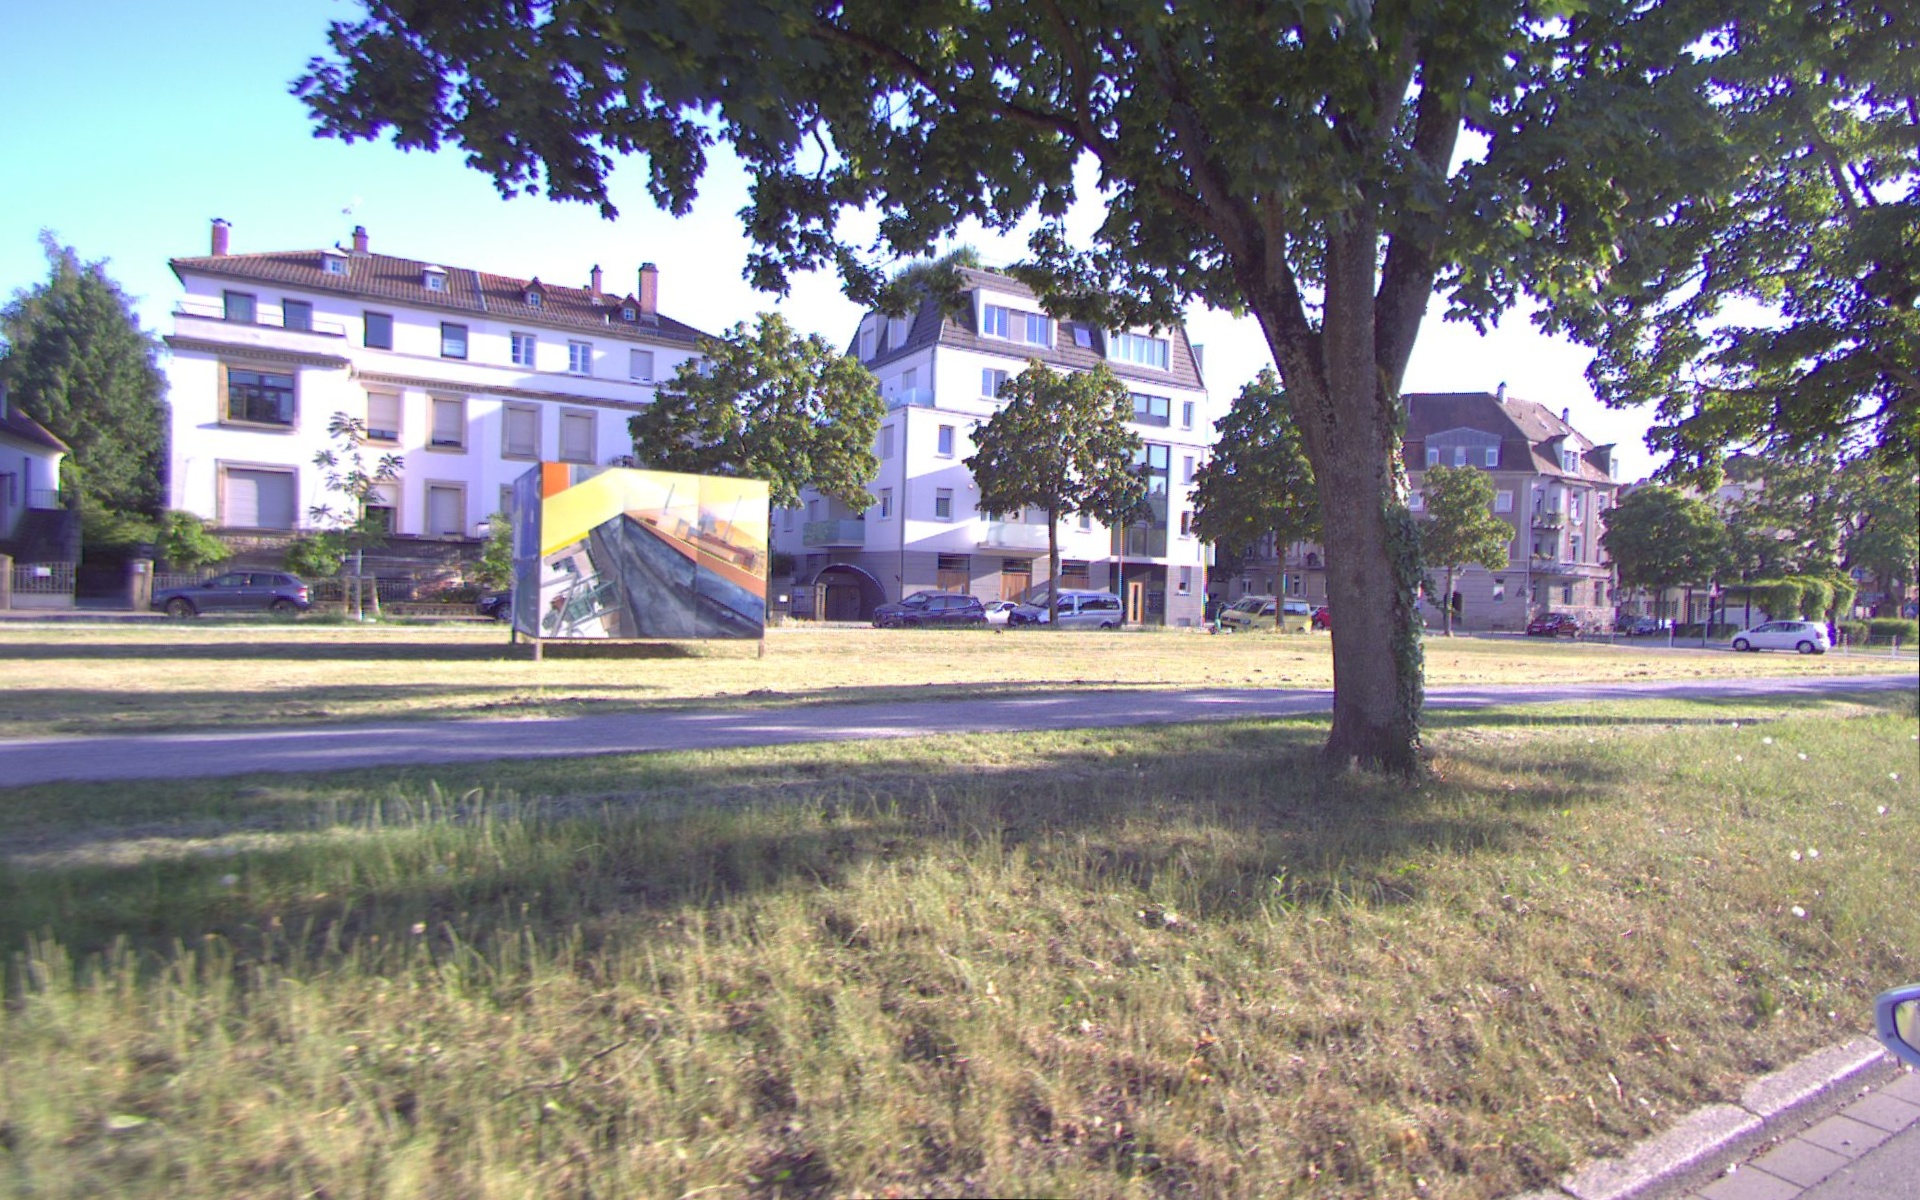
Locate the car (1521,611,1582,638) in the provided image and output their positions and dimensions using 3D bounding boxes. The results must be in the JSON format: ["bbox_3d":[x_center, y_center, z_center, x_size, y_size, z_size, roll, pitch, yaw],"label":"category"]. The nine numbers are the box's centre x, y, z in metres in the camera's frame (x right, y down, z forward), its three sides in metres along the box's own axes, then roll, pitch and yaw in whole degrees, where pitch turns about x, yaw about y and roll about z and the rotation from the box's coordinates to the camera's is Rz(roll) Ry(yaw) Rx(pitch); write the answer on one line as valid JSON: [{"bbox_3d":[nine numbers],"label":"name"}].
[{"bbox_3d":[40.400,1.698,68.617,4.241,1.729,1.637,3,-3,-29],"label":"car"}]

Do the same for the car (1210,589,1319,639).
[{"bbox_3d":[14.178,0.710,46.722,4.992,2.084,1.985,3,-3,-30],"label":"car"}]

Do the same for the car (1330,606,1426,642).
[{"bbox_3d":[21.302,1.250,51.202,4.769,1.658,1.976,3,-3,-29],"label":"car"}]

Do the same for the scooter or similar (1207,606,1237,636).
[{"bbox_3d":[10.294,0.817,39.500,1.285,1.142,0.389,2,1,-38],"label":"scooter or similar"}]

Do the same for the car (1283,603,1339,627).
[{"bbox_3d":[26.121,1.146,74.808,4.027,1.658,1.690,3,-3,-29],"label":"car"}]

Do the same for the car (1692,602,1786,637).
[{"bbox_3d":[68.002,1.673,87.845,6.203,2.756,1.999,2,1,31],"label":"car"}]

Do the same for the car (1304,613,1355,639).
[{"bbox_3d":[24.233,1.679,65.986,1.654,1.501,3.590,0,2,-9],"label":"car"}]

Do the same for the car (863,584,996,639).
[{"bbox_3d":[-1.127,0.479,37.649,4.636,1.851,1.920,3,-3,-30],"label":"car"}]

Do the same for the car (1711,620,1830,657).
[{"bbox_3d":[37.648,1.802,46.728,1.978,1.617,3.873,3,-4,-32],"label":"car"}]

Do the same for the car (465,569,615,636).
[{"bbox_3d":[-15.270,0.164,36.561,4.795,2.158,2.229,3,-3,-29],"label":"car"}]

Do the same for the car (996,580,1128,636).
[{"bbox_3d":[4.218,0.377,41.114,5.315,2.027,2.007,3,-4,-34],"label":"car"}]

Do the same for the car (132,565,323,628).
[{"bbox_3d":[-22.938,-0.057,31.721,4.613,1.725,1.774,3,-4,-30],"label":"car"}]
